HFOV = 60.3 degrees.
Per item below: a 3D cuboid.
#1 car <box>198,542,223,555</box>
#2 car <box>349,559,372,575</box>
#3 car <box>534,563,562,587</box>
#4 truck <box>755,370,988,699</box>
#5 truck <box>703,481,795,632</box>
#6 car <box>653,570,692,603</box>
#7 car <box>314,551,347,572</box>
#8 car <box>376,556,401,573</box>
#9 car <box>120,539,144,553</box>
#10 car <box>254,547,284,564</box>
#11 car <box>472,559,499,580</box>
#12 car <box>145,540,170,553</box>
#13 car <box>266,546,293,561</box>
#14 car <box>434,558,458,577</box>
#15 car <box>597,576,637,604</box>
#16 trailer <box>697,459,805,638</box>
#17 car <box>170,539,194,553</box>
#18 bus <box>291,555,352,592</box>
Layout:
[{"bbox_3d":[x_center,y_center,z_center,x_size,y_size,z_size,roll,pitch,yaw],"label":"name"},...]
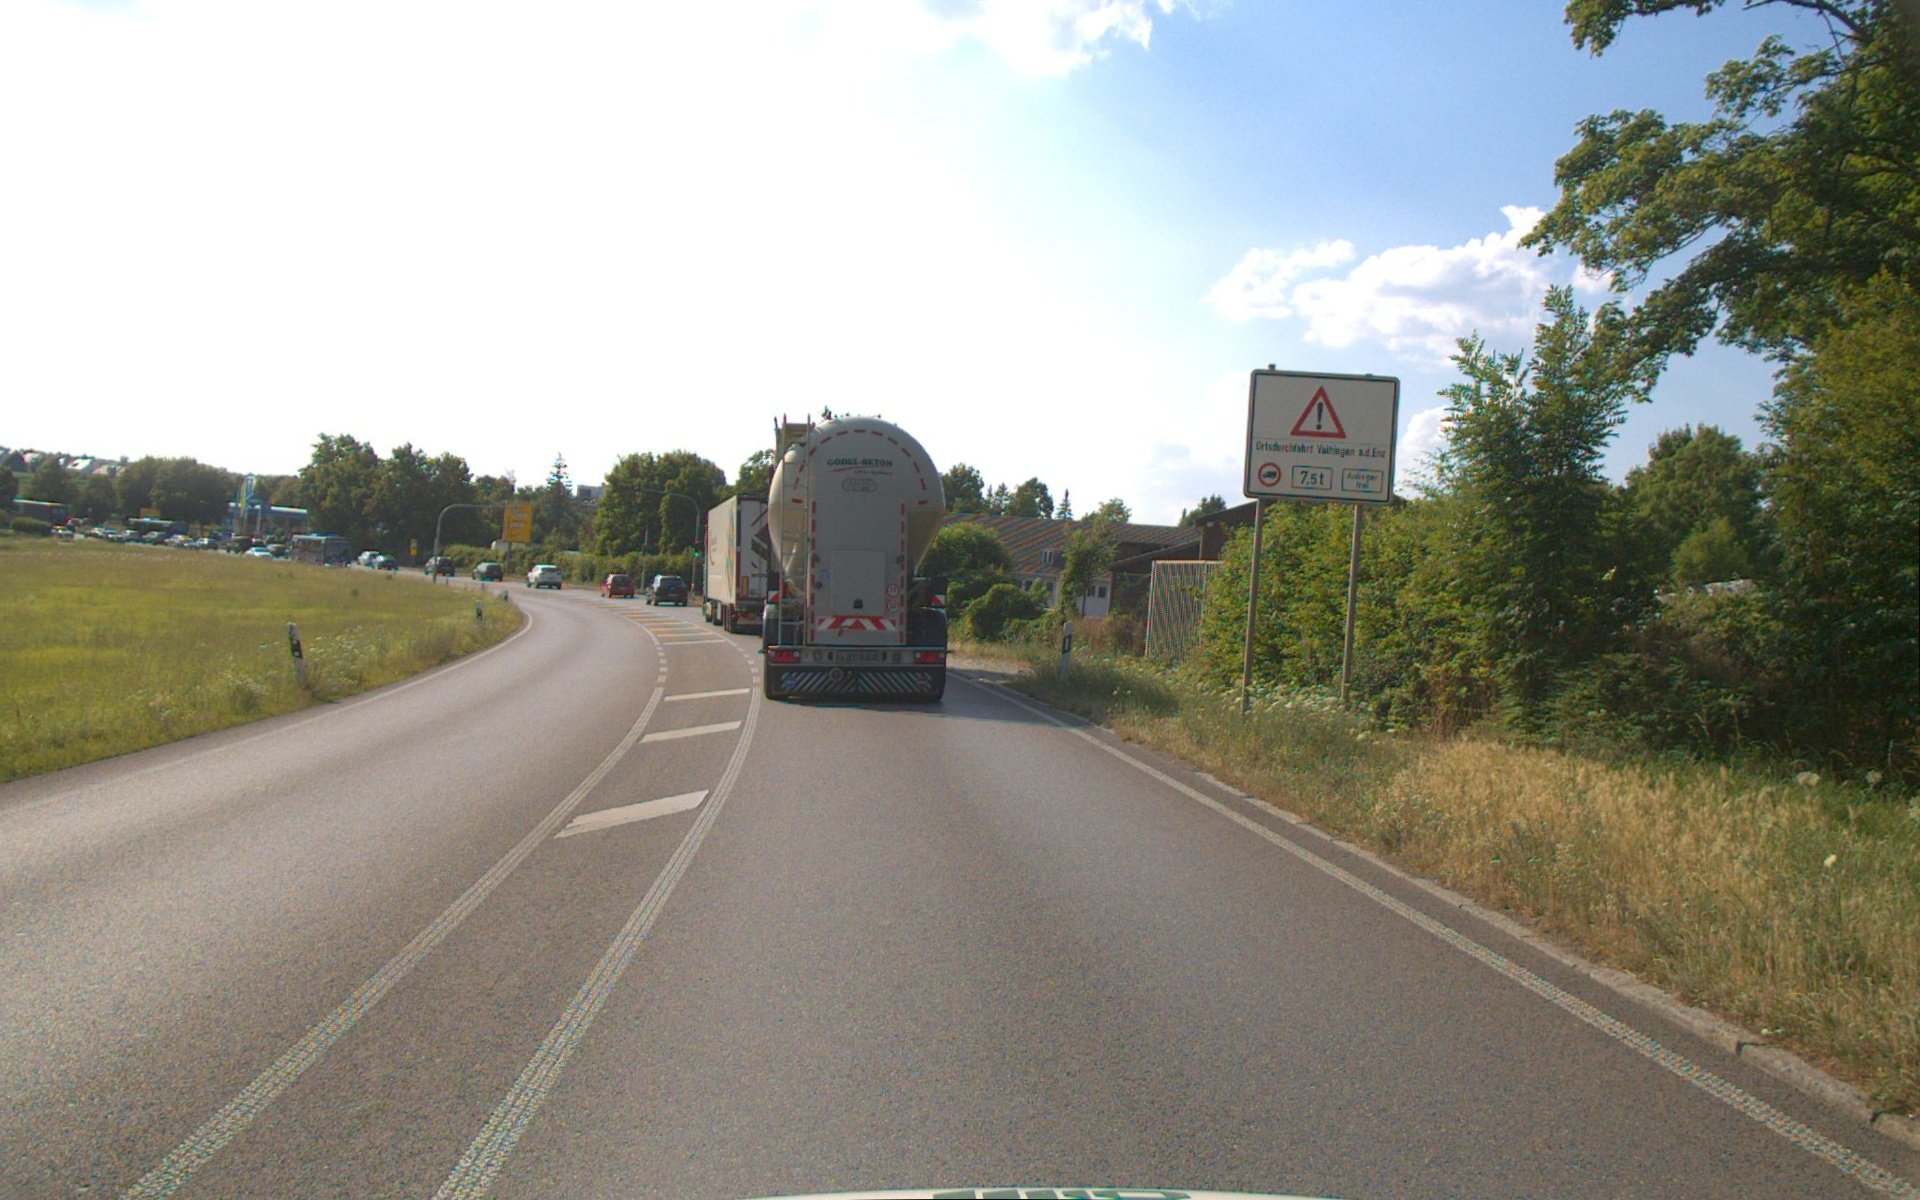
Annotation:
[{"bbox_3d":[-94.100,-6.461,207.580,2.068,1.627,3.950,2,1,-36],"label":"car"},{"bbox_3d":[-63.686,-3.528,175.670,1.662,1.586,3.832,2,0,-31],"label":"car"},{"bbox_3d":[-30.478,-1.850,122.293,1.812,1.685,3.981,2,0,-17],"label":"car"},{"bbox_3d":[-1.868,-0.833,27.555,2.919,4.248,11.642,1,0,-7],"label":"truck"},{"bbox_3d":[-7.440,-1.432,58.383,2.907,4.972,6.419,1,0,-7],"label":"truck"},{"bbox_3d":[-15.232,-0.692,87.749,1.957,1.685,3.991,2,0,-10],"label":"car"},{"bbox_3d":[-53.748,-3.286,141.177,1.825,1.685,3.953,2,0,-34],"label":"car"},{"bbox_3d":[-57.103,-3.568,165.221,1.662,1.586,3.832,2,0,-31],"label":"car"},{"bbox_3d":[-110.719,-7.221,221.206,1.873,1.627,3.938,2,1,-43],"label":"car"},{"bbox_3d":[-73.268,-4.738,175.355,1.829,1.685,3.944,2,0,-39],"label":"car"},{"bbox_3d":[-39.863,-2.567,138.992,1.501,1.685,3.840,2,0,-26],"label":"car"},{"bbox_3d":[-104.432,-6.930,215.196,1.873,1.627,3.938,2,1,-43],"label":"car"},{"bbox_3d":[-78.756,-5.391,191.436,2.068,1.627,3.950,2,1,-36],"label":"car"},{"bbox_3d":[-46.902,-2.942,150.802,1.501,1.685,3.840,2,0,-26],"label":"car"},{"bbox_3d":[-21.677,-0.636,104.388,2.260,1.685,4.399,2,0,-14],"label":"car"},{"bbox_3d":[-6.571,-1.446,51.886,2.908,4.967,10.270,1,0,-7],"label":"trailer"},{"bbox_3d":[-99.376,-6.868,211.172,1.869,1.627,3.945,2,1,-38],"label":"car"},{"bbox_3d":[-60.590,-2.482,156.839,2.769,3.237,11.983,2,0,-34],"label":"bus"}]
